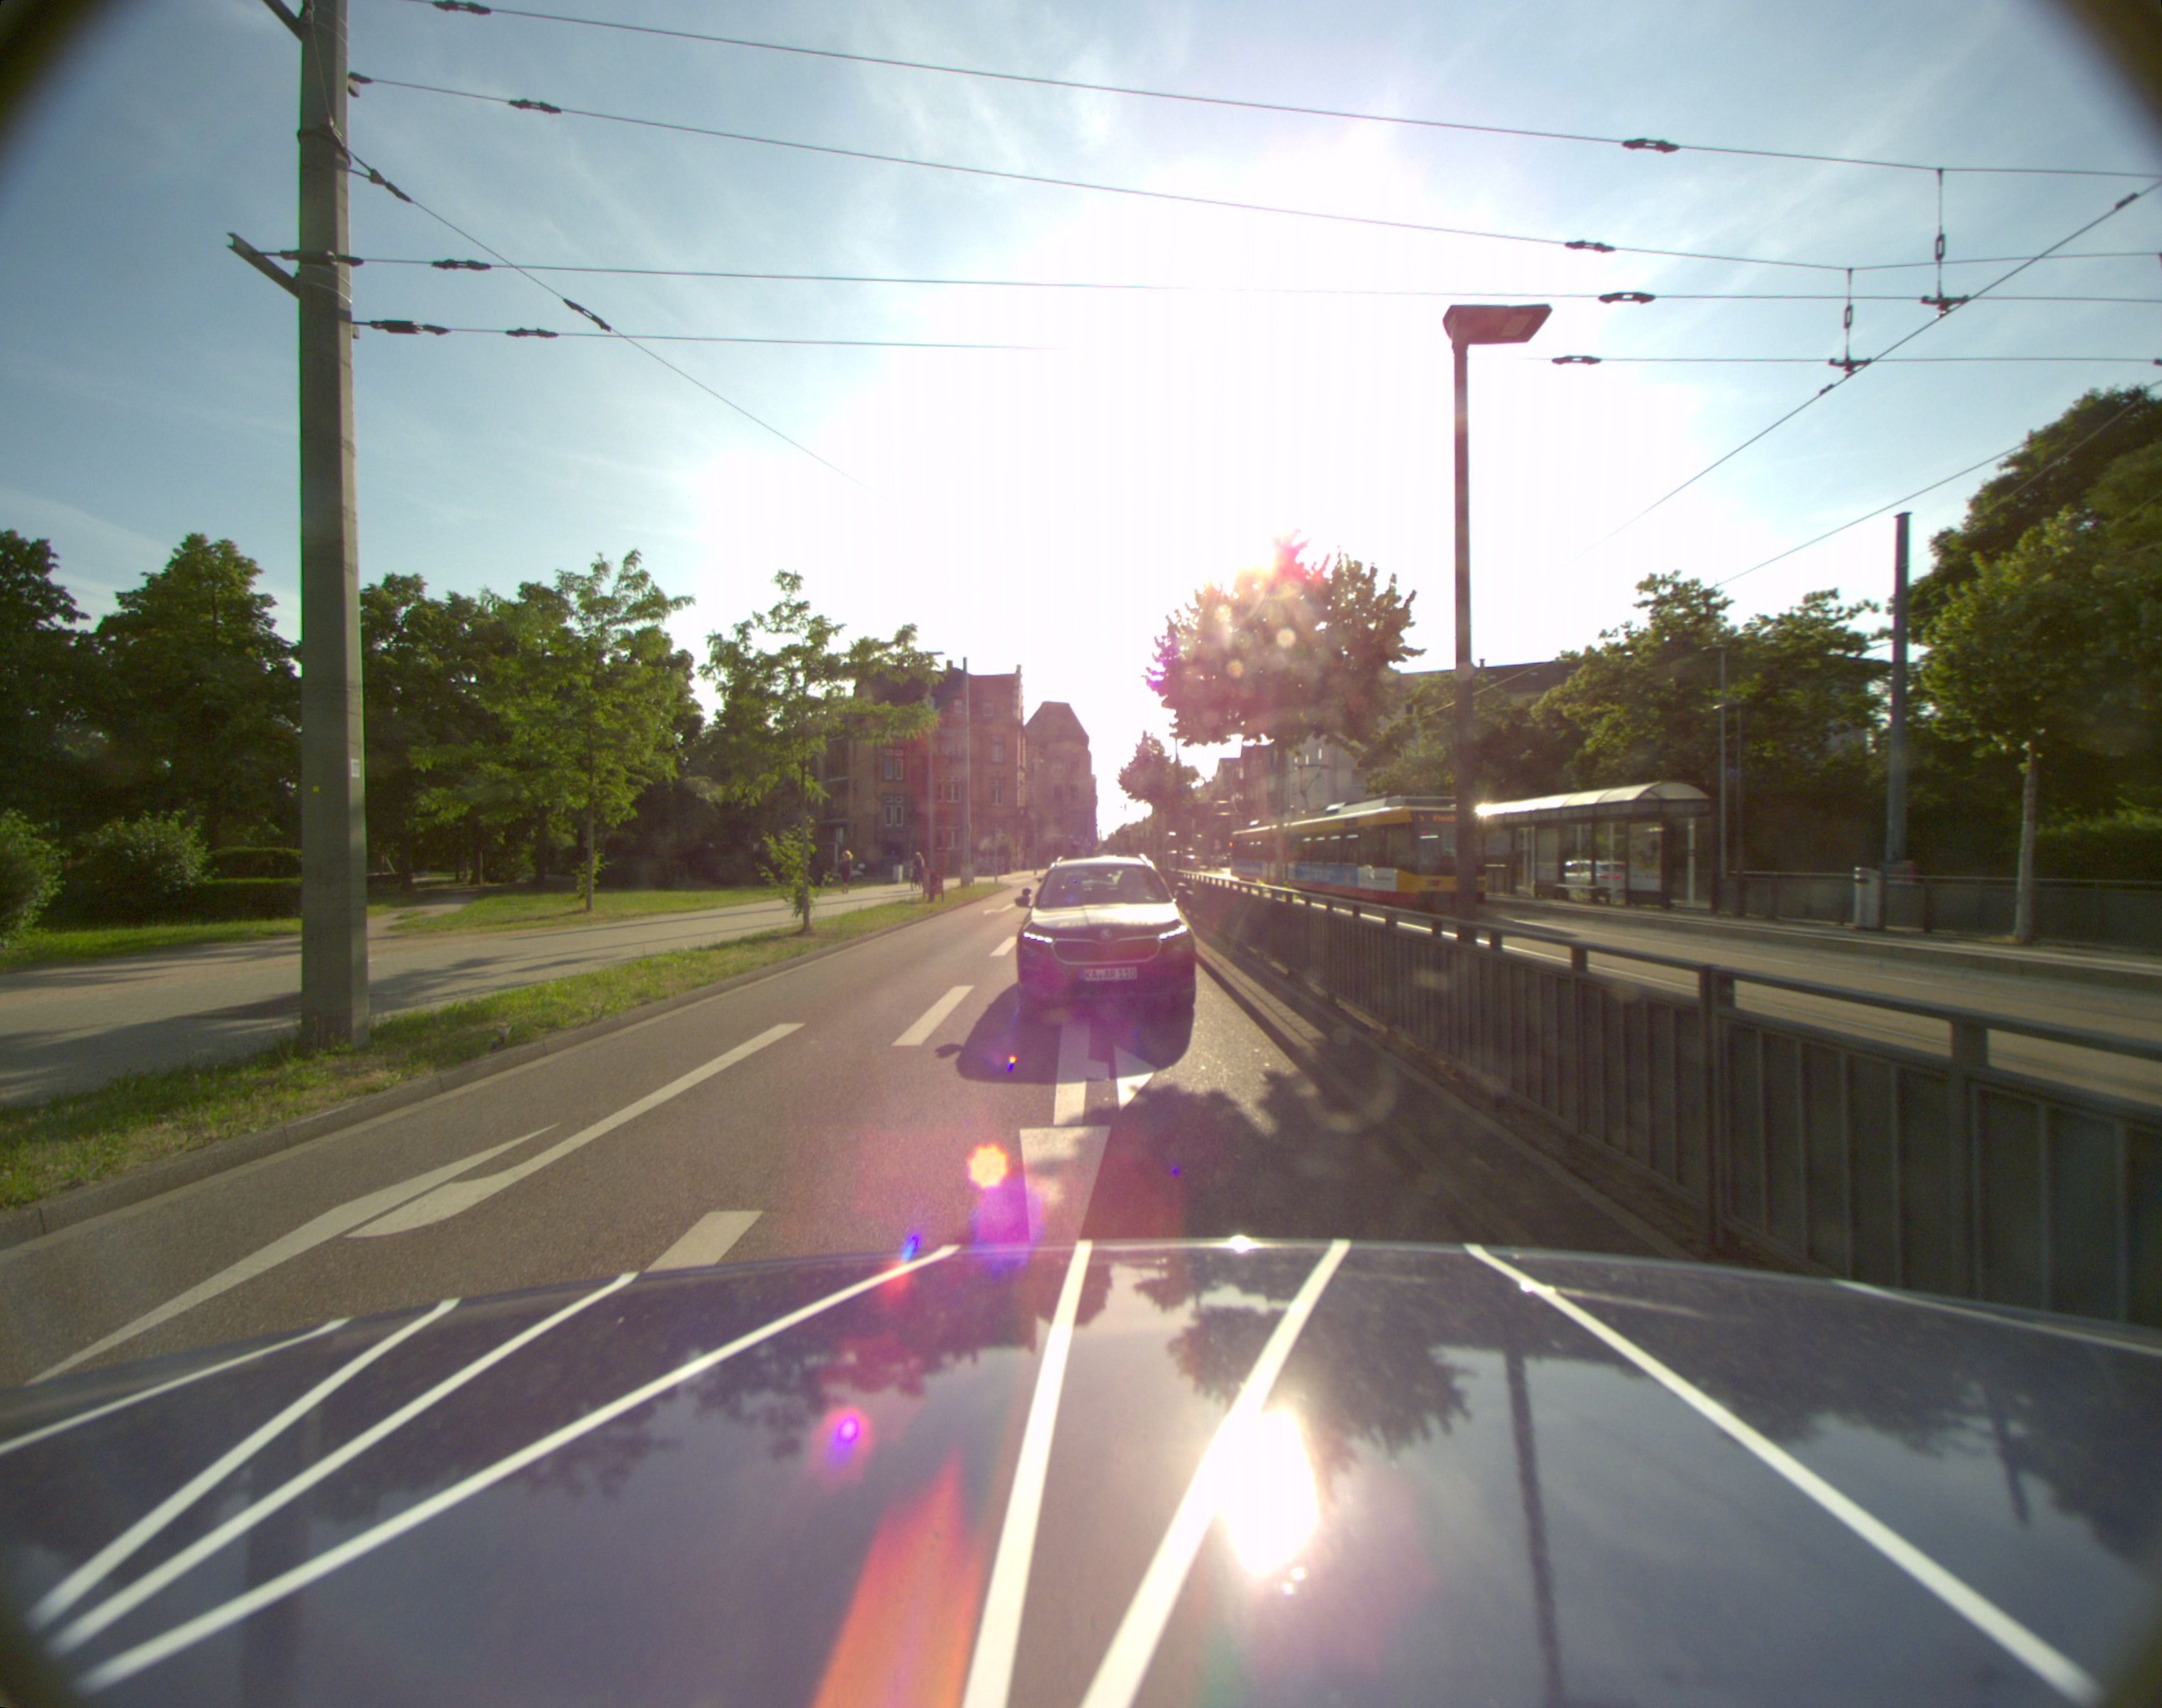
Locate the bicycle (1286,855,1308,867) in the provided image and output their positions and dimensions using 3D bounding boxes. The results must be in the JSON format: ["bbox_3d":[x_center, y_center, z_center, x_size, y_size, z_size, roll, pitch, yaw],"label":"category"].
[{"bbox_3d":[19.558,0.612,68.801,1.912,1.104,0.736,0,1,22],"label":"bicycle"}]

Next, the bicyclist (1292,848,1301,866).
[{"bbox_3d":[19.507,0.248,68.773,0.771,1.633,0.796,0,1,23],"label":"bicyclist"}]

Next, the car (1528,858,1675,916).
[{"bbox_3d":[16.671,0.994,24.613,1.998,1.674,4.000,-1,0,0],"label":"car"}]

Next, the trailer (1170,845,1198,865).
[{"bbox_3d":[12.496,0.121,92.540,2.858,2.378,1.726,-1,0,33],"label":"trailer"}]

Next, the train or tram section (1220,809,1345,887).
[{"bbox_3d":[10.412,-0.272,41.473,3.169,3.459,14.533,-1,0,1],"label":"train or tram section"}]

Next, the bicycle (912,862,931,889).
[{"bbox_3d":[-7.227,0.978,34.506,0.484,1.183,1.339,-1,0,4],"label":"bicycle"}]

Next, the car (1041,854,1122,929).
[{"bbox_3d":[0.056,0.945,21.098,1.998,1.827,4.000,-1,0,1],"label":"car"}]

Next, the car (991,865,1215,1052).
[{"bbox_3d":[0.298,0.892,8.265,1.839,1.472,4.001,0,0,3],"label":"car"}]

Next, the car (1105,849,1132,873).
[{"bbox_3d":[2.975,0.524,60.286,1.998,1.772,4.000,0,0,1],"label":"car"}]

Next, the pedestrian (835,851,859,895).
[{"bbox_3d":[-9.283,0.733,30.130,0.616,1.682,0.549,5,1,5],"label":"pedestrian"}]

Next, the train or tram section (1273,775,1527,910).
[{"bbox_3d":[10.117,-0.289,26.989,3.169,3.459,14.472,-1,0,1],"label":"train or tram section"}]

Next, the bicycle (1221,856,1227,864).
[{"bbox_3d":[17.605,0.701,93.549,0.543,1.012,2.251,-1,0,5],"label":"bicycle"}]

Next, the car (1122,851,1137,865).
[{"bbox_3d":[7.145,0.601,112.289,1.998,2.002,4.000,0,0,1],"label":"car"}]

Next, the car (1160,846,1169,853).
[{"bbox_3d":[24.109,-1.315,219.257,1.998,2.002,4.000,-1,0,1],"label":"car"}]

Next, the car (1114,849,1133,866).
[{"bbox_3d":[4.871,0.374,87.390,1.998,2.002,4.000,0,0,1],"label":"car"}]

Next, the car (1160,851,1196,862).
[{"bbox_3d":[11.458,0.286,89.954,3.941,1.352,1.676,0,1,39],"label":"car"}]

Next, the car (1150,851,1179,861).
[{"bbox_3d":[13.698,0.345,124.737,4.259,1.414,2.176,-1,0,43],"label":"car"}]

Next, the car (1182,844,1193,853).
[{"bbox_3d":[23.098,-1.153,164.602,1.998,2.002,4.000,-1,0,2],"label":"car"}]

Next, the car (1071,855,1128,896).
[{"bbox_3d":[0.844,0.827,31.643,1.997,1.565,4.002,-1,0,6],"label":"car"}]

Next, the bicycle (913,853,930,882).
[{"bbox_3d":[-7.237,0.620,34.493,0.574,1.290,0.688,-1,0,4],"label":"bicycle"}]

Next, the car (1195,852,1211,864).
[{"bbox_3d":[21.053,0.687,131.113,2.170,1.890,4.612,-1,0,4],"label":"car"}]

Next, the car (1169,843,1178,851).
[{"bbox_3d":[23.819,-1.870,195.653,1.998,2.002,4.001,-1,0,5],"label":"car"}]

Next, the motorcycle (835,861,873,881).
[{"bbox_3d":[-13.486,1.013,45.159,2.002,1.153,0.708,-1,0,-4],"label":"motorcycle"}]

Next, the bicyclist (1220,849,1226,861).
[{"bbox_3d":[17.552,0.144,93.755,0.652,1.405,0.717,-1,0,3],"label":"bicyclist"}]

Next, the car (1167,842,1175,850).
[{"bbox_3d":[24.364,-2.100,206.849,1.998,2.002,4.001,-1,0,5],"label":"car"}]
